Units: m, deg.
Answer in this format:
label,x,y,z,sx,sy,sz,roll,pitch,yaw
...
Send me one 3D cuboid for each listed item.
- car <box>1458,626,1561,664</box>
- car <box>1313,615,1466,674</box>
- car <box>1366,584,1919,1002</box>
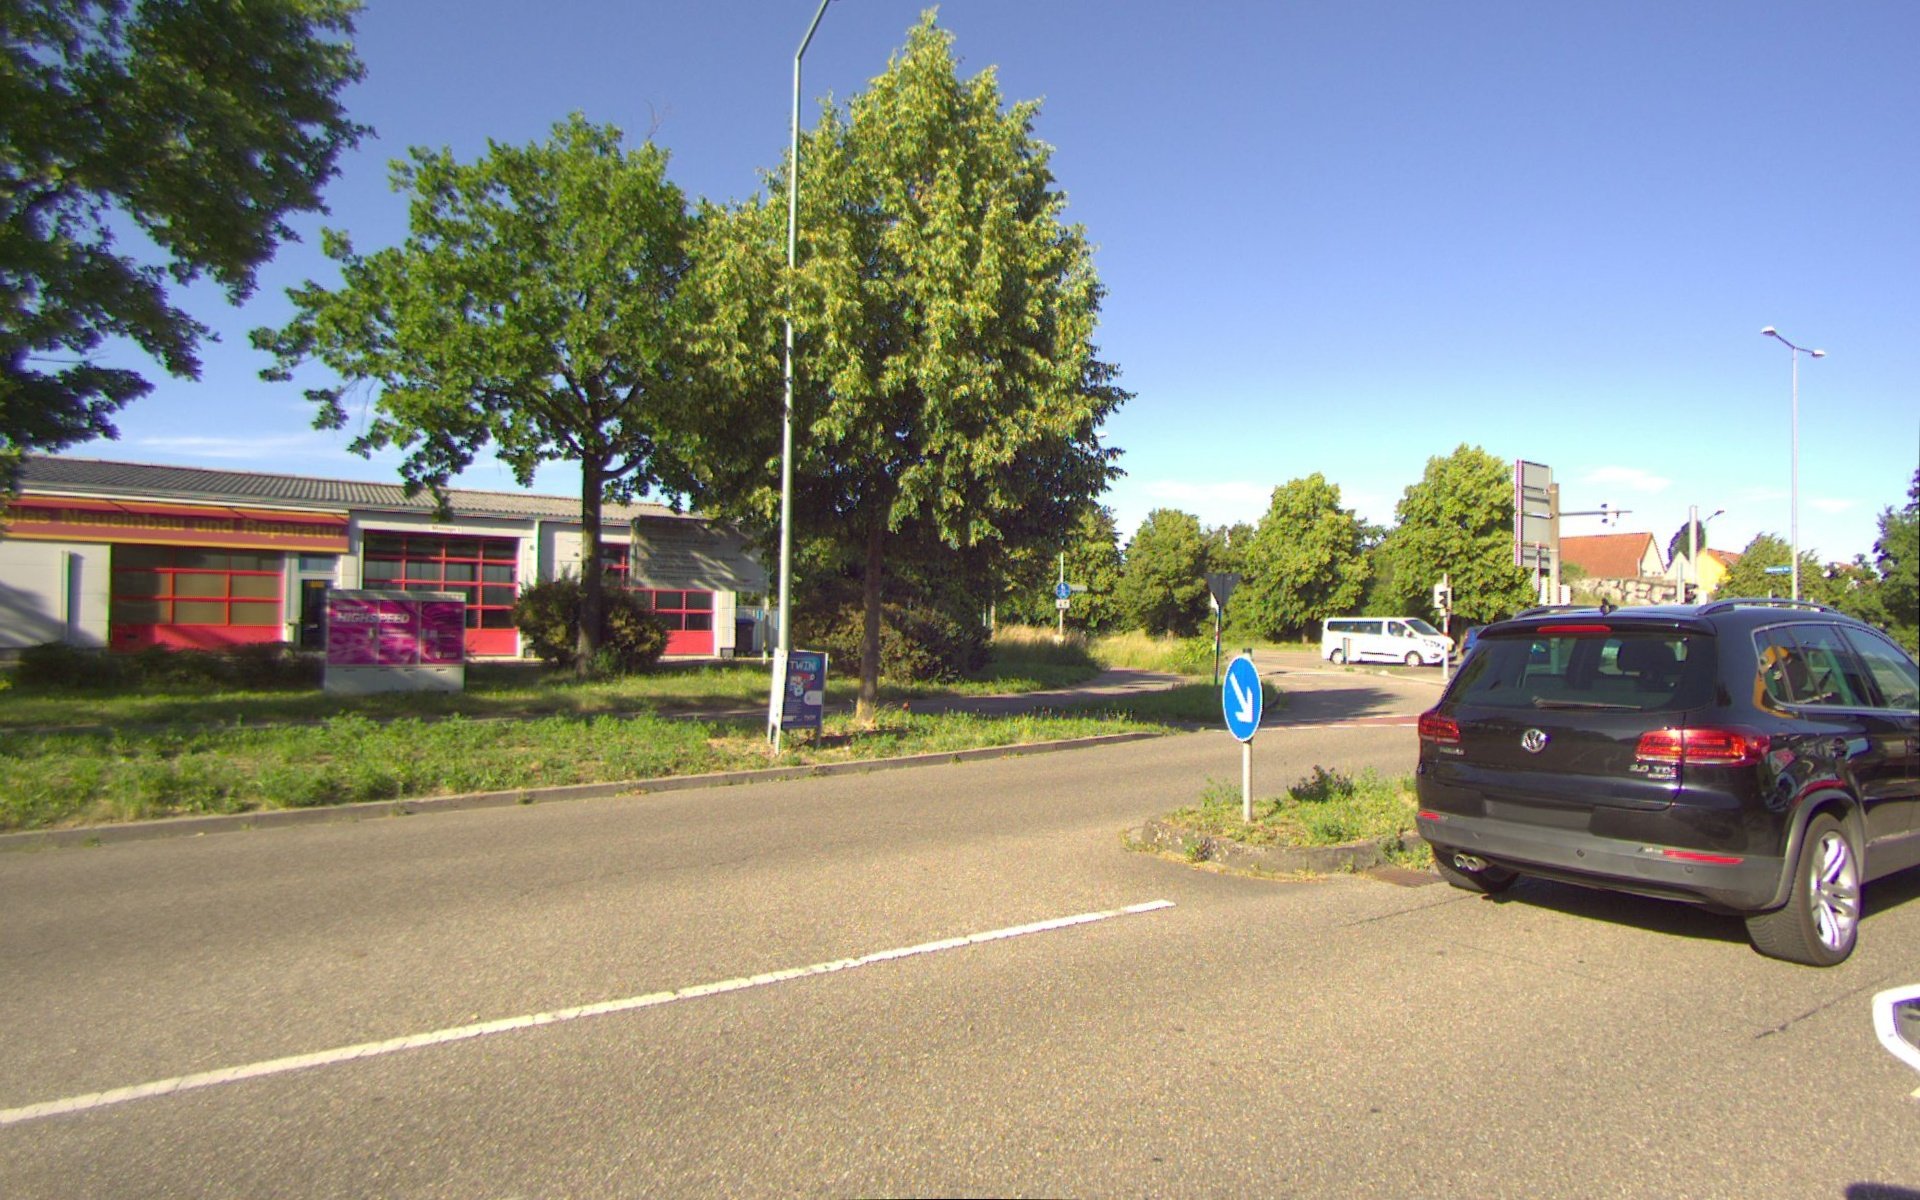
label,x,y,z,sx,sy,sz,roll,pitch,yaw
car,23.761,1.918,43.501,1.733,1.581,3.559,2,-2,-35
car,17.245,1.748,40.607,2.160,2.146,5.350,2,-1,-35
car,4.394,0.852,5.846,3.955,1.675,1.763,1,-3,-31
